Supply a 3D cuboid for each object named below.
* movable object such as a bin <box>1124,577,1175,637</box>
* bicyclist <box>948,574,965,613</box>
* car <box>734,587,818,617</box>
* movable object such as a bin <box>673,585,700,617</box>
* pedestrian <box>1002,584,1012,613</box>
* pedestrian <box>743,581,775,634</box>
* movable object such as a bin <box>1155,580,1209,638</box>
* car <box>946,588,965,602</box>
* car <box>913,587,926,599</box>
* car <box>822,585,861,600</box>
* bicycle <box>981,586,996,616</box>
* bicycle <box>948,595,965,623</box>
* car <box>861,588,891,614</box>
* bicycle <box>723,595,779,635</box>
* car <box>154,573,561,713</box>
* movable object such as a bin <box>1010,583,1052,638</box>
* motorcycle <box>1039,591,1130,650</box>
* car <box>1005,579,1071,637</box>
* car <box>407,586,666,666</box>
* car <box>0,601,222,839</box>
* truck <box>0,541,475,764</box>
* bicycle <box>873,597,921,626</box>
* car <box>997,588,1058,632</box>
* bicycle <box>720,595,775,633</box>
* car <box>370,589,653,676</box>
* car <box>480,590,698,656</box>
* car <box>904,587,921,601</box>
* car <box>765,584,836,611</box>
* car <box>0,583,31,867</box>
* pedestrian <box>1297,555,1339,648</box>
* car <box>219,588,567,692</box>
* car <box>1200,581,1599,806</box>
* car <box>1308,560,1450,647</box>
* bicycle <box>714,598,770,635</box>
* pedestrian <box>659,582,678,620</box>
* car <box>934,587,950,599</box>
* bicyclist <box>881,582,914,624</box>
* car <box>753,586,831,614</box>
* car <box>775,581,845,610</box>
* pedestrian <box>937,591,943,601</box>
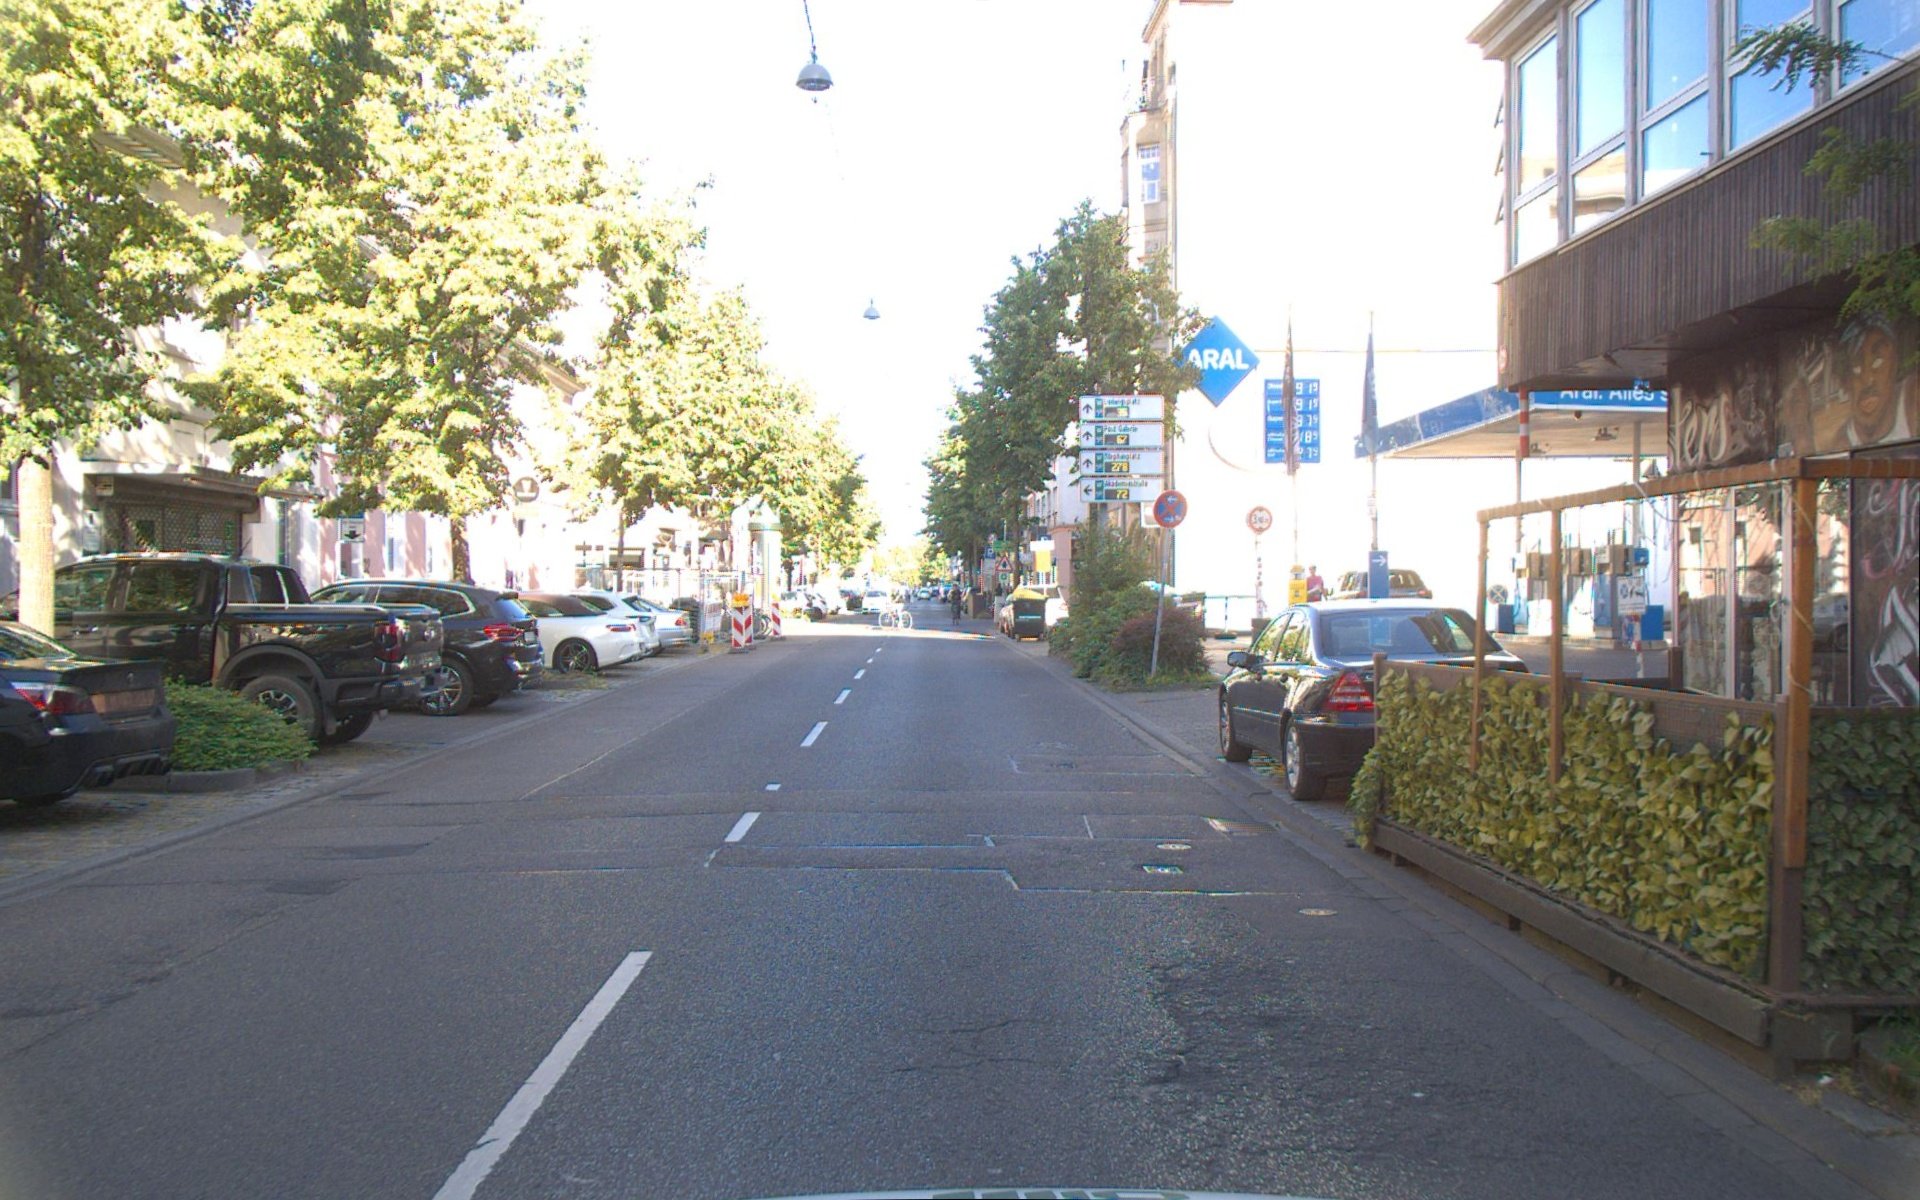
[{"bbox_3d":[5.357,0.191,46.728,1.181,1.656,1.497,-1,0,-3],"label":"movable object such as a bin"},{"bbox_3d":[-0.149,-0.301,73.743,0.704,1.722,1.157,-1,0,-1],"label":"bicyclist"},{"bbox_3d":[-9.006,0.093,81.169,3.907,1.414,1.999,-1,1,-3],"label":"car"},{"bbox_3d":[-12.990,0.038,78.633,1.117,1.511,1.235,-1,0,-4],"label":"movable object such as a bin"},{"bbox_3d":[2.753,-0.113,96.040,0.535,1.678,0.664,-1,0,-1],"label":"pedestrian"},{"bbox_3d":[-6.770,0.249,55.749,0.785,1.737,0.758,0,0,-34],"label":"pedestrian"},{"bbox_3d":[6.079,0.245,45.379,1.245,1.557,1.176,-1,0,-3],"label":"movable object such as a bin"},{"bbox_3d":[-0.532,-0.515,186.363,1.953,1.534,3.998,0,0,-2],"label":"car"},{"bbox_3d":[-5.381,-0.947,221.155,1.756,1.436,3.999,-1,1,-2],"label":"car"},{"bbox_3d":[-11.968,-0.759,167.510,3.907,1.526,1.999,-1,1,-3],"label":"car"},{"bbox_3d":[1.456,0.039,85.362,0.549,1.465,1.628,-6,1,-1],"label":"bicycle"},{"bbox_3d":[-0.149,0.390,73.743,0.704,1.241,2.035,-1,0,-1],"label":"bicycle"},{"bbox_3d":[-5.206,0.052,103.110,1.766,1.460,4.407,-3,0,-2],"label":"car"},{"bbox_3d":[-6.967,0.496,55.069,1.820,1.274,0.599,1,0,-9],"label":"bicycle"},{"bbox_3d":[-7.671,0.528,21.366,4.584,1.723,1.808,0,0,0],"label":"car"},{"bbox_3d":[2.116,0.309,49.346,1.118,1.589,1.460,-1,0,7],"label":"movable object such as a bin"},{"bbox_3d":[2.930,0.471,38.896,1.944,1.353,0.908,-1,1,-14],"label":"motorcycle"},{"bbox_3d":[2.474,0.228,53.538,1.785,1.708,4.600,-3,0,-1],"label":"car"},{"bbox_3d":[-8.110,0.482,32.000,4.588,1.491,1.806,0,0,-5],"label":"car"},{"bbox_3d":[-7.777,0.752,11.353,4.584,1.488,1.808,0,0,0],"label":"car"},{"bbox_3d":[-7.528,0.477,16.133,4.982,1.972,1.999,-1,0,-2],"label":"truck"},{"bbox_3d":[-2.437,0.453,63.939,0.754,1.077,1.946,0,1,39],"label":"bicycle"},{"bbox_3d":[2.372,0.328,58.856,1.786,1.415,4.299,-3,0,-2],"label":"car"},{"bbox_3d":[-7.197,0.463,56.077,1.820,1.274,0.599,1,0,-9],"label":"bicycle"},{"bbox_3d":[-7.893,0.554,29.441,4.588,1.491,1.806,0,0,-5],"label":"car"},{"bbox_3d":[-8.317,0.511,37.401,4.588,1.437,1.806,0,0,-5],"label":"car"},{"bbox_3d":[-5.341,-0.669,186.339,1.786,1.415,4.299,-3,0,-2],"label":"car"},{"bbox_3d":[-9.339,-0.154,97.061,3.903,1.482,1.869,-1,1,3],"label":"car"},{"bbox_3d":[-7.690,0.696,8.682,4.584,1.599,1.808,0,0,0],"label":"car"},{"bbox_3d":[7.305,0.028,33.799,0.692,1.882,0.688,-1,0,1],"label":"pedestrian"},{"bbox_3d":[-8.406,0.578,24.799,4.584,1.489,1.808,0,0,0],"label":"car"},{"bbox_3d":[3.296,0.608,13.439,1.862,1.436,4.645,-2,0,-2],"label":"car"},{"bbox_3d":[8.662,0.049,34.582,1.862,1.677,4.293,-1,0,0],"label":"car"},{"bbox_3d":[-7.178,0.534,54.390,1.820,1.190,0.599,1,0,-9],"label":"bicycle"},{"bbox_3d":[-12.947,0.037,73.514,0.756,1.671,0.689,-1,0,-7],"label":"pedestrian"},{"bbox_3d":[-2.238,-0.847,205.959,1.953,1.534,3.998,0,0,-2],"label":"car"},{"bbox_3d":[-2.421,0.120,63.936,0.754,1.587,1.036,0,0,39],"label":"bicyclist"},{"bbox_3d":[-8.809,-0.018,86.961,3.907,1.414,1.999,-1,1,-3],"label":"car"},{"bbox_3d":[-9.054,-0.284,99.868,3.903,1.724,2.001,-1,1,3],"label":"car"},{"bbox_3d":[-2.207,-0.410,181.444,0.534,1.044,0.546,-1,0,-4],"label":"pedestrian"}]
